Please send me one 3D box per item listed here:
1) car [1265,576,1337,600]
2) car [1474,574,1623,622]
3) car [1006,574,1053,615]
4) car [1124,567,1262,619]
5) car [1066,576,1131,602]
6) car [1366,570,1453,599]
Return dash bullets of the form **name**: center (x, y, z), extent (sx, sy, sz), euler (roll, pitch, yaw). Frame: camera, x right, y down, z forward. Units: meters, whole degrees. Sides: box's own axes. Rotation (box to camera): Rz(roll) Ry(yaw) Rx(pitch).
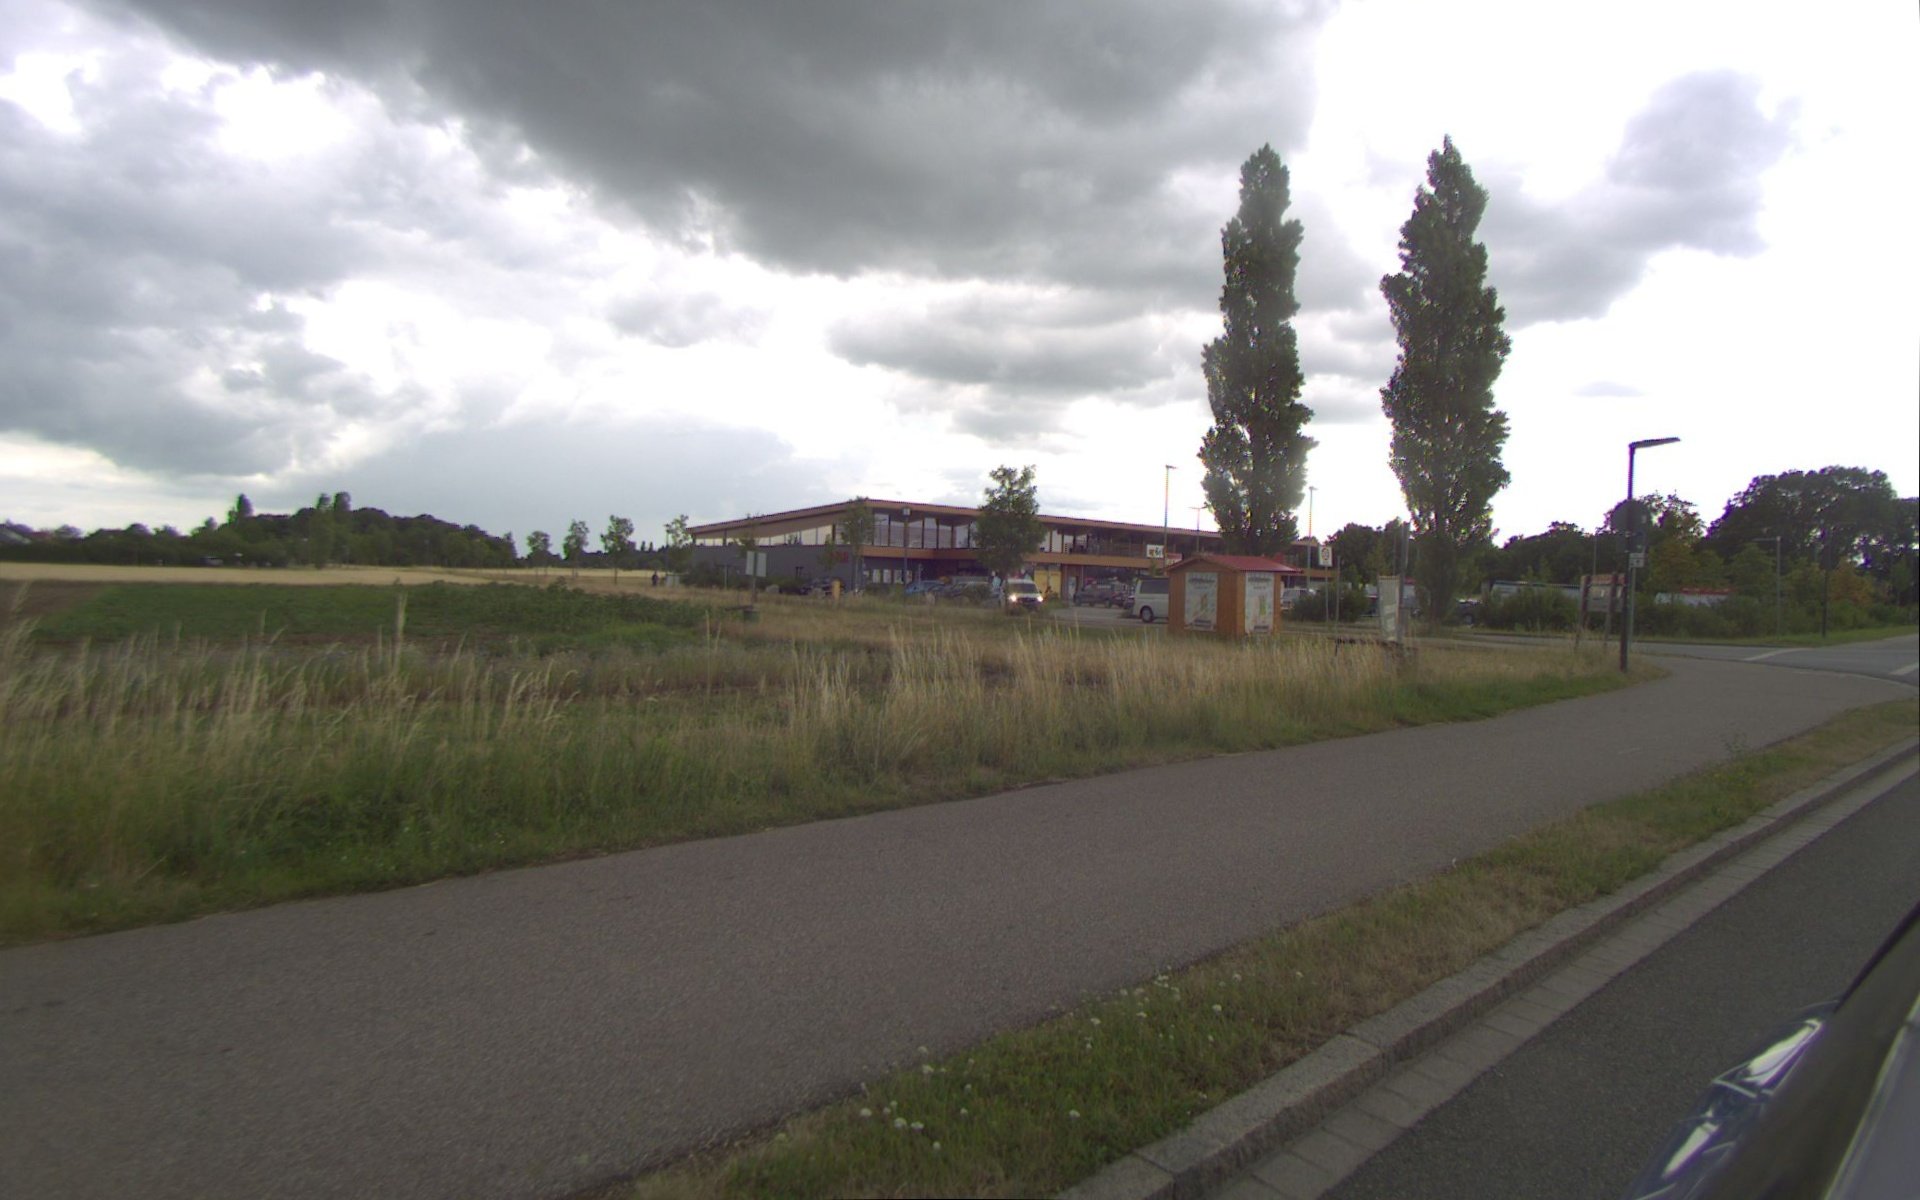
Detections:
- **car**: center (29.244, -1.004, 86.926), extent (5.511, 2.039, 1.968), euler (0, 0, 44)
- **car**: center (26.492, -0.106, 45.702), extent (5.511, 2.039, 1.968), euler (0, 0, 44)
- **car**: center (3.728, -0.309, 53.682), extent (1.968, 2.039, 5.302), euler (0, 0, 10)
- **car**: center (9.805, -0.293, 43.001), extent (2.516, 2.039, 5.312), euler (-1, 0, -39)
- **car**: center (10.928, -0.861, 80.076), extent (4.841, 2.039, 1.969), euler (0, 0, 43)
- **car**: center (32.923, -1.101, 74.262), extent (5.511, 2.039, 1.968), euler (0, 0, 44)
